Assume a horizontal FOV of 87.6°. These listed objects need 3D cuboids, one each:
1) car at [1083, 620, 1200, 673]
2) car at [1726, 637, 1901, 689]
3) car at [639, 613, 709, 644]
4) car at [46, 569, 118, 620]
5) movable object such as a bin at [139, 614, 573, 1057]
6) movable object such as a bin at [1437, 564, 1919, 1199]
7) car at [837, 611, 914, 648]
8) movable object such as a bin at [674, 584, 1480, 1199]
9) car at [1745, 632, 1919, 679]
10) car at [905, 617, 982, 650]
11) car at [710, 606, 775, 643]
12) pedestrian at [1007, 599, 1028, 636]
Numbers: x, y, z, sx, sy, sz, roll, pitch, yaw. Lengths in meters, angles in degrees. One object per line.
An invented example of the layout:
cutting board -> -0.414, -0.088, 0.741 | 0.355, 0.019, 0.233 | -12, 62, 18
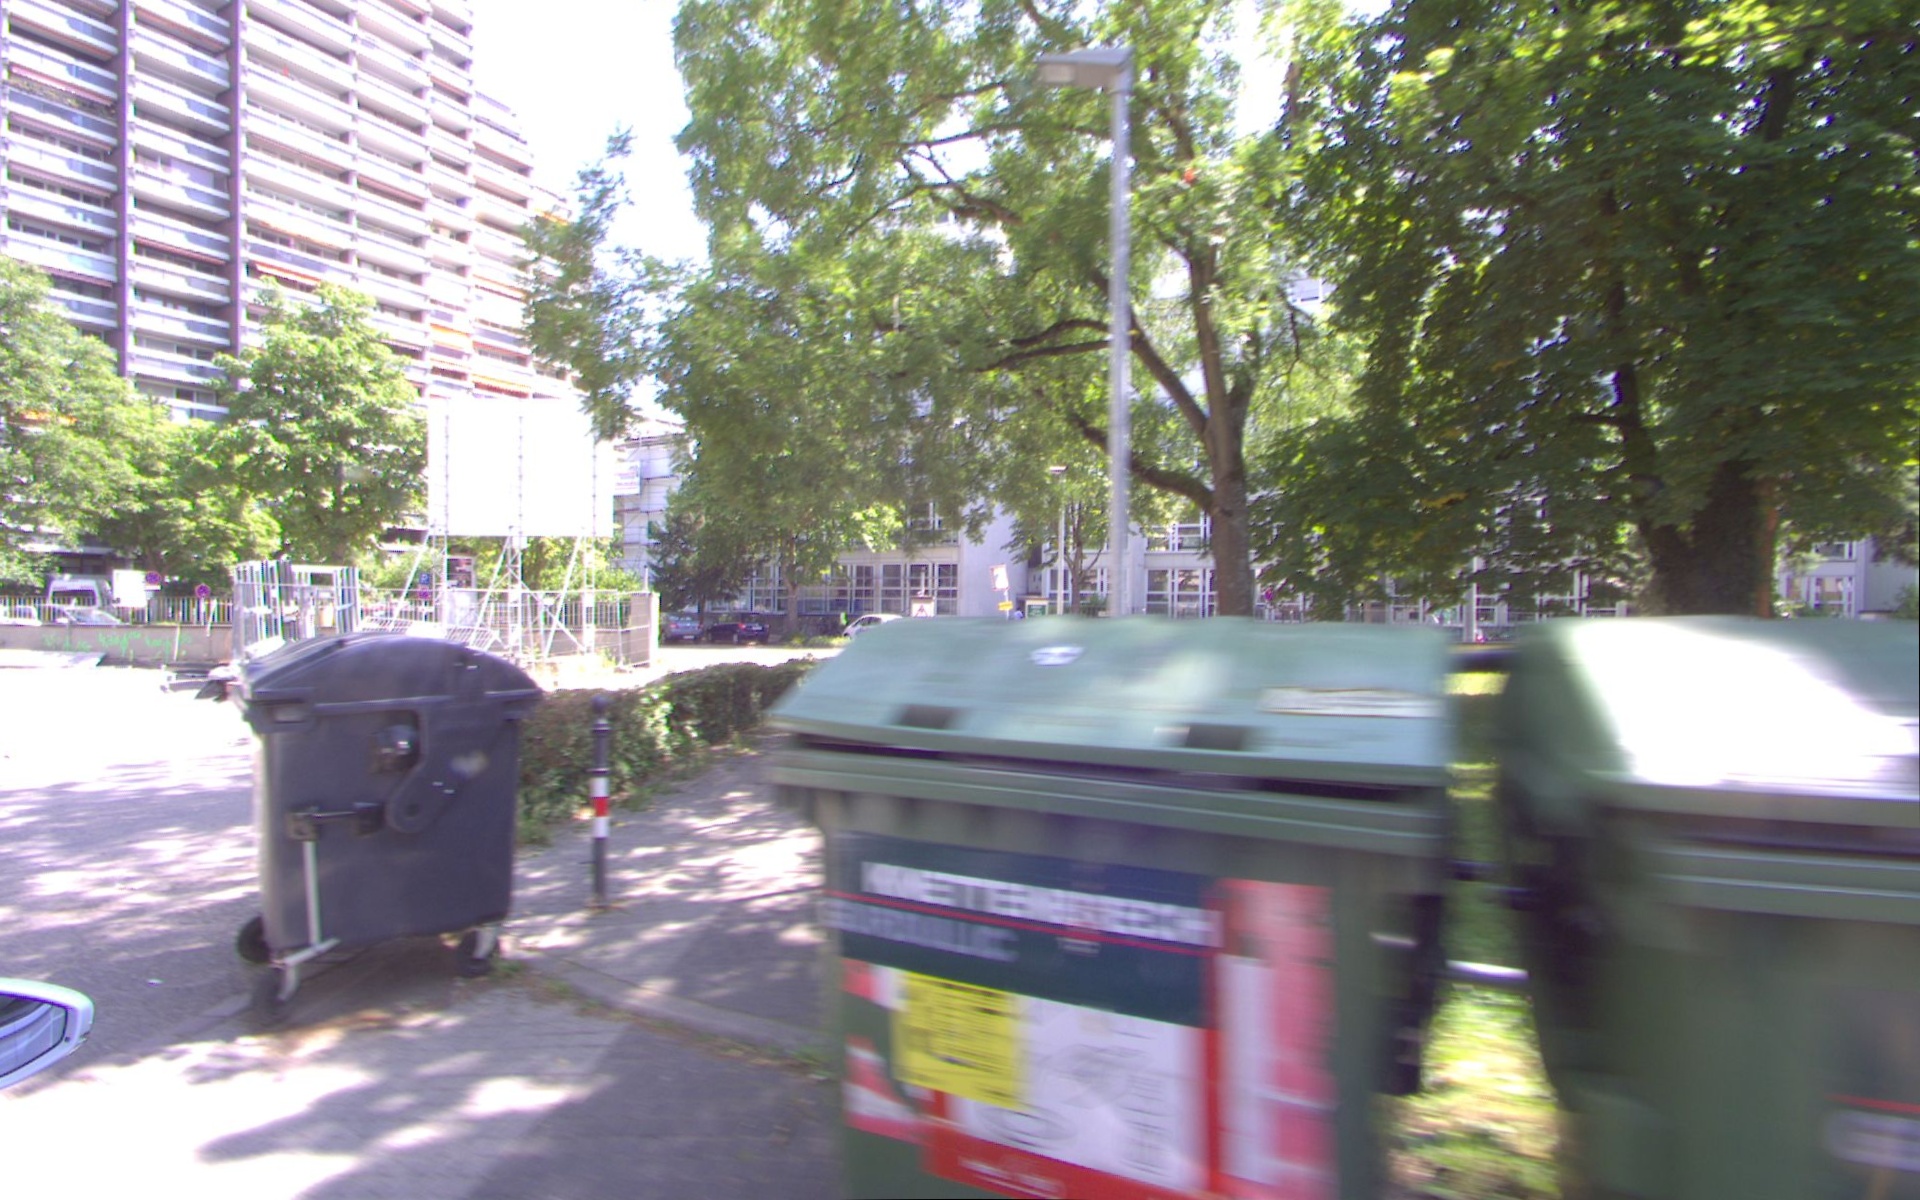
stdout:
car -> 5.354, 1.367, 29.799 | 3.267, 1.498, 1.433 | 0, 0, 3
car -> 24.268, 1.779, 28.561 | 3.461, 1.360, 1.654 | 0, 0, 5
car -> -13.317, 1.306, 46.511 | 1.897, 1.327, 3.901 | 1, -1, -37
car -> -41.921, -0.214, 47.903 | 2.165, 2.288, 4.833 | 0, 0, -37
movable object such as a bin -> -2.504, 0.804, 4.182 | 1.357, 1.477, 1.073 | 0, 0, 33
movable object such as a bin -> 1.439, 0.710, 1.316 | 1.357, 1.477, 1.073 | 0, 0, 33
car -> -3.953, 1.336, 46.517 | 1.653, 1.610, 3.657 | 1, 0, -43
movable object such as a bin -> 0.280, 0.725, 2.107 | 1.357, 1.477, 1.073 | 0, 0, 33
car -> 29.117, 1.836, 33.287 | 4.595, 1.456, 1.673 | 0, 0, 3
car -> -0.793, 1.522, 46.059 | 1.651, 1.434, 3.680 | 1, -1, -39
car -> -10.181, 1.103, 46.739 | 1.988, 1.651, 3.912 | 1, -1, -28
pedestrian -> 3.261, 0.993, 56.953 | 0.863, 2.040, 0.993 | 0, 0, 27
